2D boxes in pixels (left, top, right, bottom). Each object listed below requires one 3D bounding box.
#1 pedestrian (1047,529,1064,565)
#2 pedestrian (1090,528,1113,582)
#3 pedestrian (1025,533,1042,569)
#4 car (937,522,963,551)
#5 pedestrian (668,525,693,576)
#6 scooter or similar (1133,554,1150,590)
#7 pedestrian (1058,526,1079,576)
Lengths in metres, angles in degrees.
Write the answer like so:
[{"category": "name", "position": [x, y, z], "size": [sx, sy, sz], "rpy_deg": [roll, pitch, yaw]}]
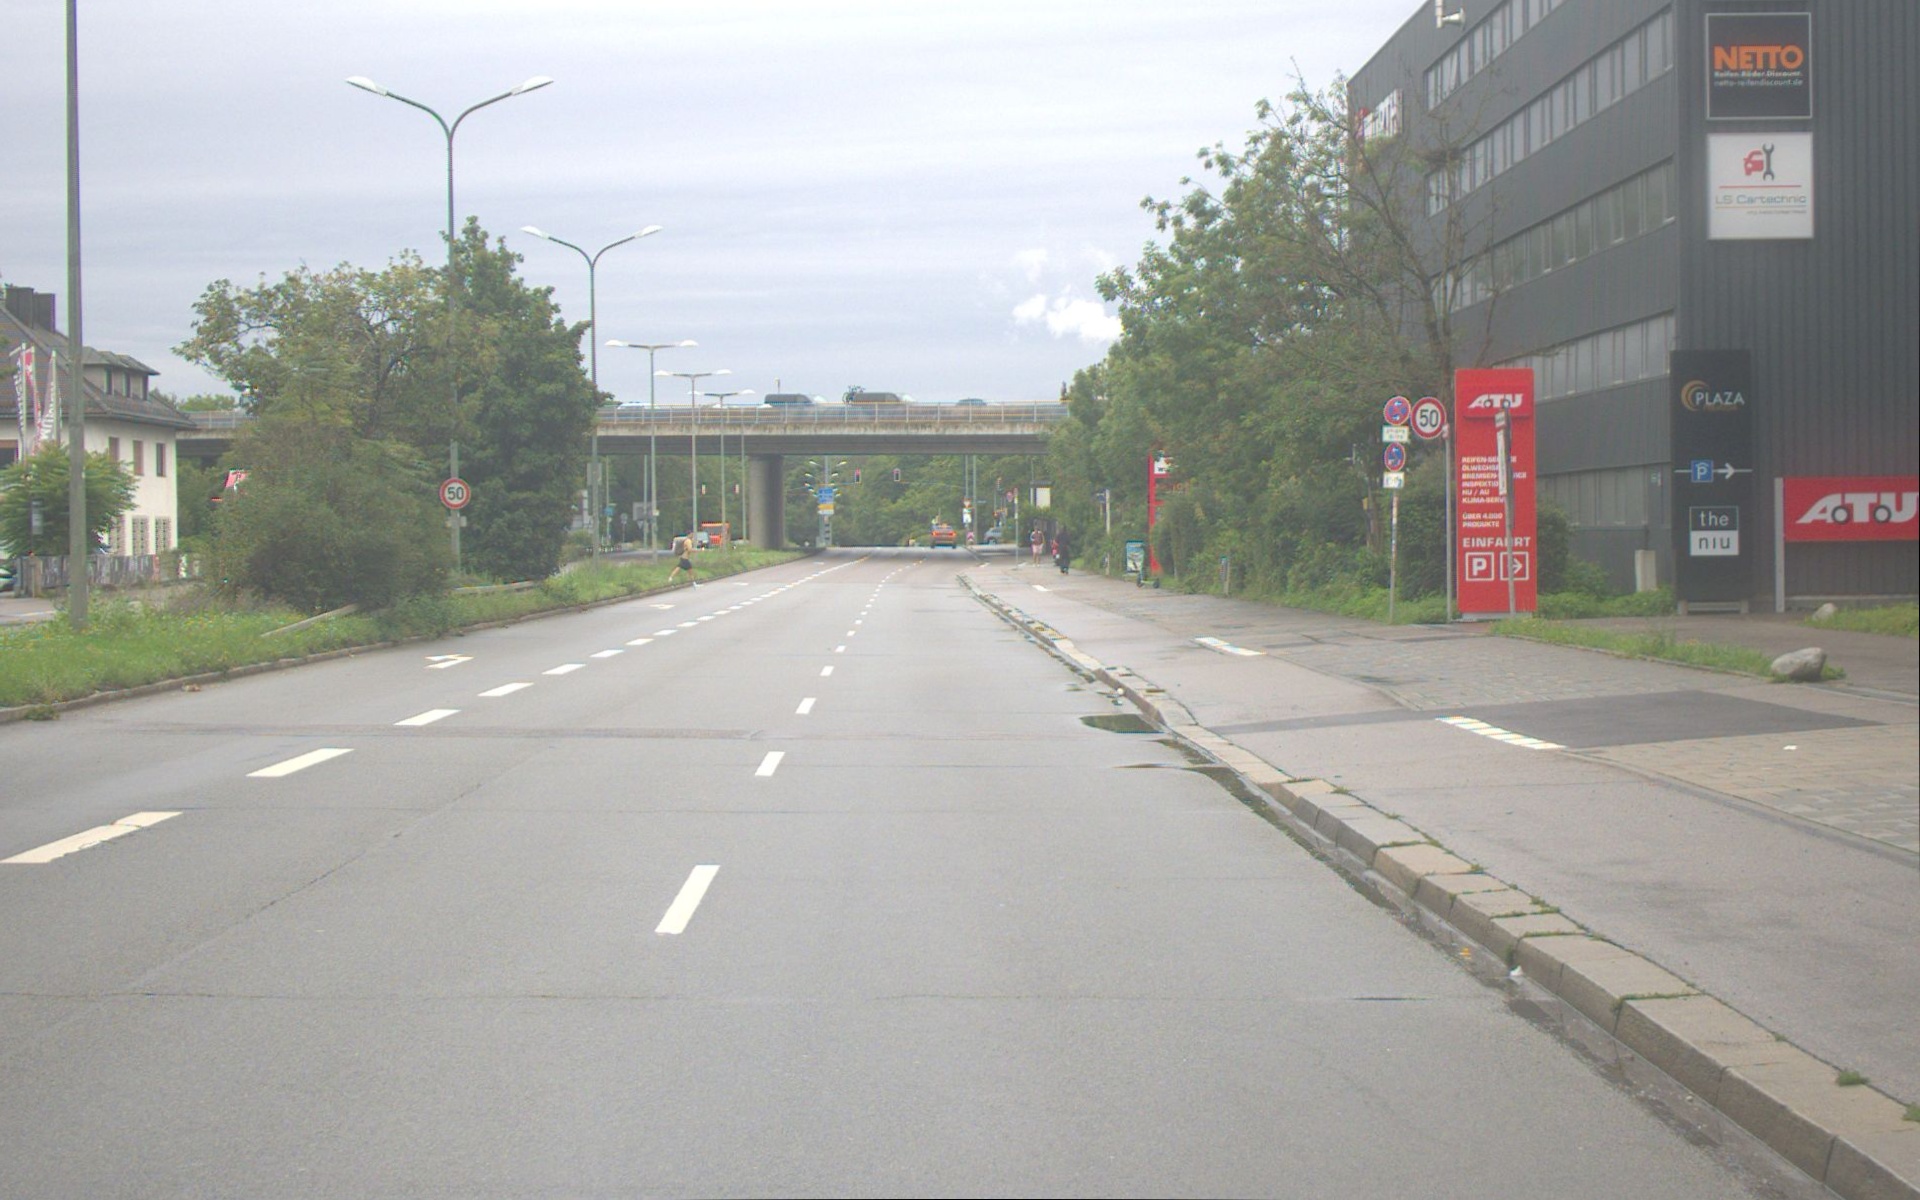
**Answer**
[{"category": "pedestrian", "position": [4.295, -2.380, 155.025], "size": [0.689, 1.611, 0.662], "rpy_deg": [-2, 1, -1]}, {"category": "pedestrian", "position": [4.942, -1.566, 119.974], "size": [0.689, 1.869, 0.662], "rpy_deg": [-2, 1, -1]}, {"category": "pedestrian", "position": [3.304, -2.225, 155.153], "size": [0.689, 1.611, 0.662], "rpy_deg": [-2, 1, -1]}, {"category": "car", "position": [-0.698, -4.546, 245.690], "size": [1.812, 2.007, 3.833], "rpy_deg": [1, 1, 1]}, {"category": "pedestrian", "position": [-8.965, -1.603, 110.376], "size": [0.660, 1.611, 0.691], "rpy_deg": [-2, 1, 4]}, {"category": "scooter or similar", "position": [5.101, -0.785, 96.598], "size": [0.304, 1.000, 1.220], "rpy_deg": [-2, 1, -3]}, {"category": "pedestrian", "position": [4.126, -1.877, 130.843], "size": [0.689, 1.869, 0.662], "rpy_deg": [-2, 1, -1]}]
